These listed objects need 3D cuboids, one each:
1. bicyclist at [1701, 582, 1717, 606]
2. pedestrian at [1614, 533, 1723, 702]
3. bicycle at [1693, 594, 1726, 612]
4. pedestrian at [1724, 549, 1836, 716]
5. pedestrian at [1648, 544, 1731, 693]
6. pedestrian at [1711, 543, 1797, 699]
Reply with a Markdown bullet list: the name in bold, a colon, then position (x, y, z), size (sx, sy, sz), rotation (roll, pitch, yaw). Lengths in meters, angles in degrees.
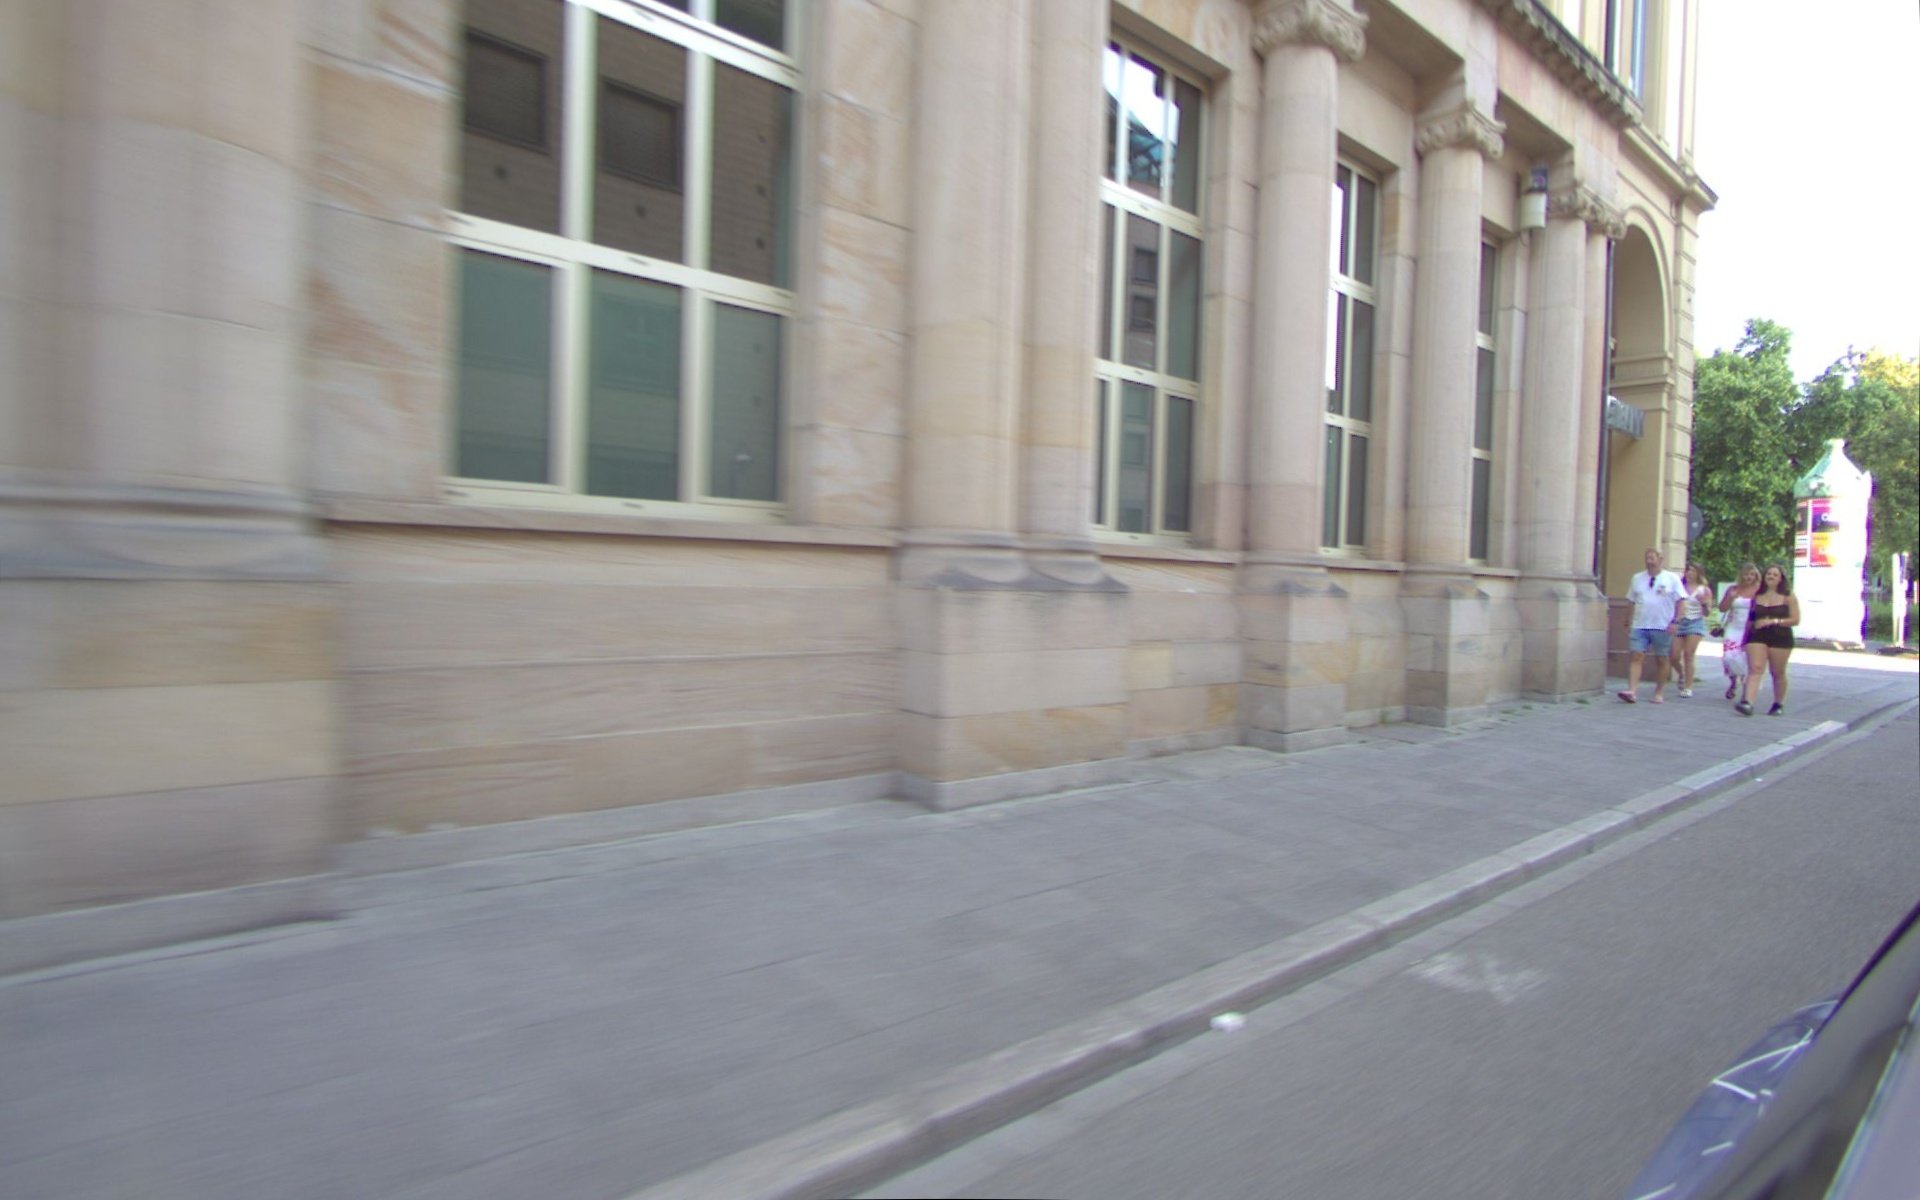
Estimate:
- **bicyclist**: position (53.154, -0.412, 71.794), size (0.668, 1.652, 0.656), rotation (2, 1, 16)
- **pedestrian**: position (8.372, 0.179, 11.957), size (0.860, 1.898, 0.813), rotation (0, 2, -41)
- **bicycle**: position (53.190, 0.198, 71.789), size (1.750, 1.191, 0.563), rotation (2, 1, 16)
- **pedestrian**: position (9.188, 0.333, 11.343), size (0.860, 1.768, 0.777), rotation (0, 2, -41)
- **pedestrian**: position (9.248, 0.212, 12.829), size (0.758, 1.825, 0.638), rotation (0, 2, -41)
- **pedestrian**: position (9.676, 0.234, 12.337), size (0.758, 1.825, 0.638), rotation (0, 2, -41)
